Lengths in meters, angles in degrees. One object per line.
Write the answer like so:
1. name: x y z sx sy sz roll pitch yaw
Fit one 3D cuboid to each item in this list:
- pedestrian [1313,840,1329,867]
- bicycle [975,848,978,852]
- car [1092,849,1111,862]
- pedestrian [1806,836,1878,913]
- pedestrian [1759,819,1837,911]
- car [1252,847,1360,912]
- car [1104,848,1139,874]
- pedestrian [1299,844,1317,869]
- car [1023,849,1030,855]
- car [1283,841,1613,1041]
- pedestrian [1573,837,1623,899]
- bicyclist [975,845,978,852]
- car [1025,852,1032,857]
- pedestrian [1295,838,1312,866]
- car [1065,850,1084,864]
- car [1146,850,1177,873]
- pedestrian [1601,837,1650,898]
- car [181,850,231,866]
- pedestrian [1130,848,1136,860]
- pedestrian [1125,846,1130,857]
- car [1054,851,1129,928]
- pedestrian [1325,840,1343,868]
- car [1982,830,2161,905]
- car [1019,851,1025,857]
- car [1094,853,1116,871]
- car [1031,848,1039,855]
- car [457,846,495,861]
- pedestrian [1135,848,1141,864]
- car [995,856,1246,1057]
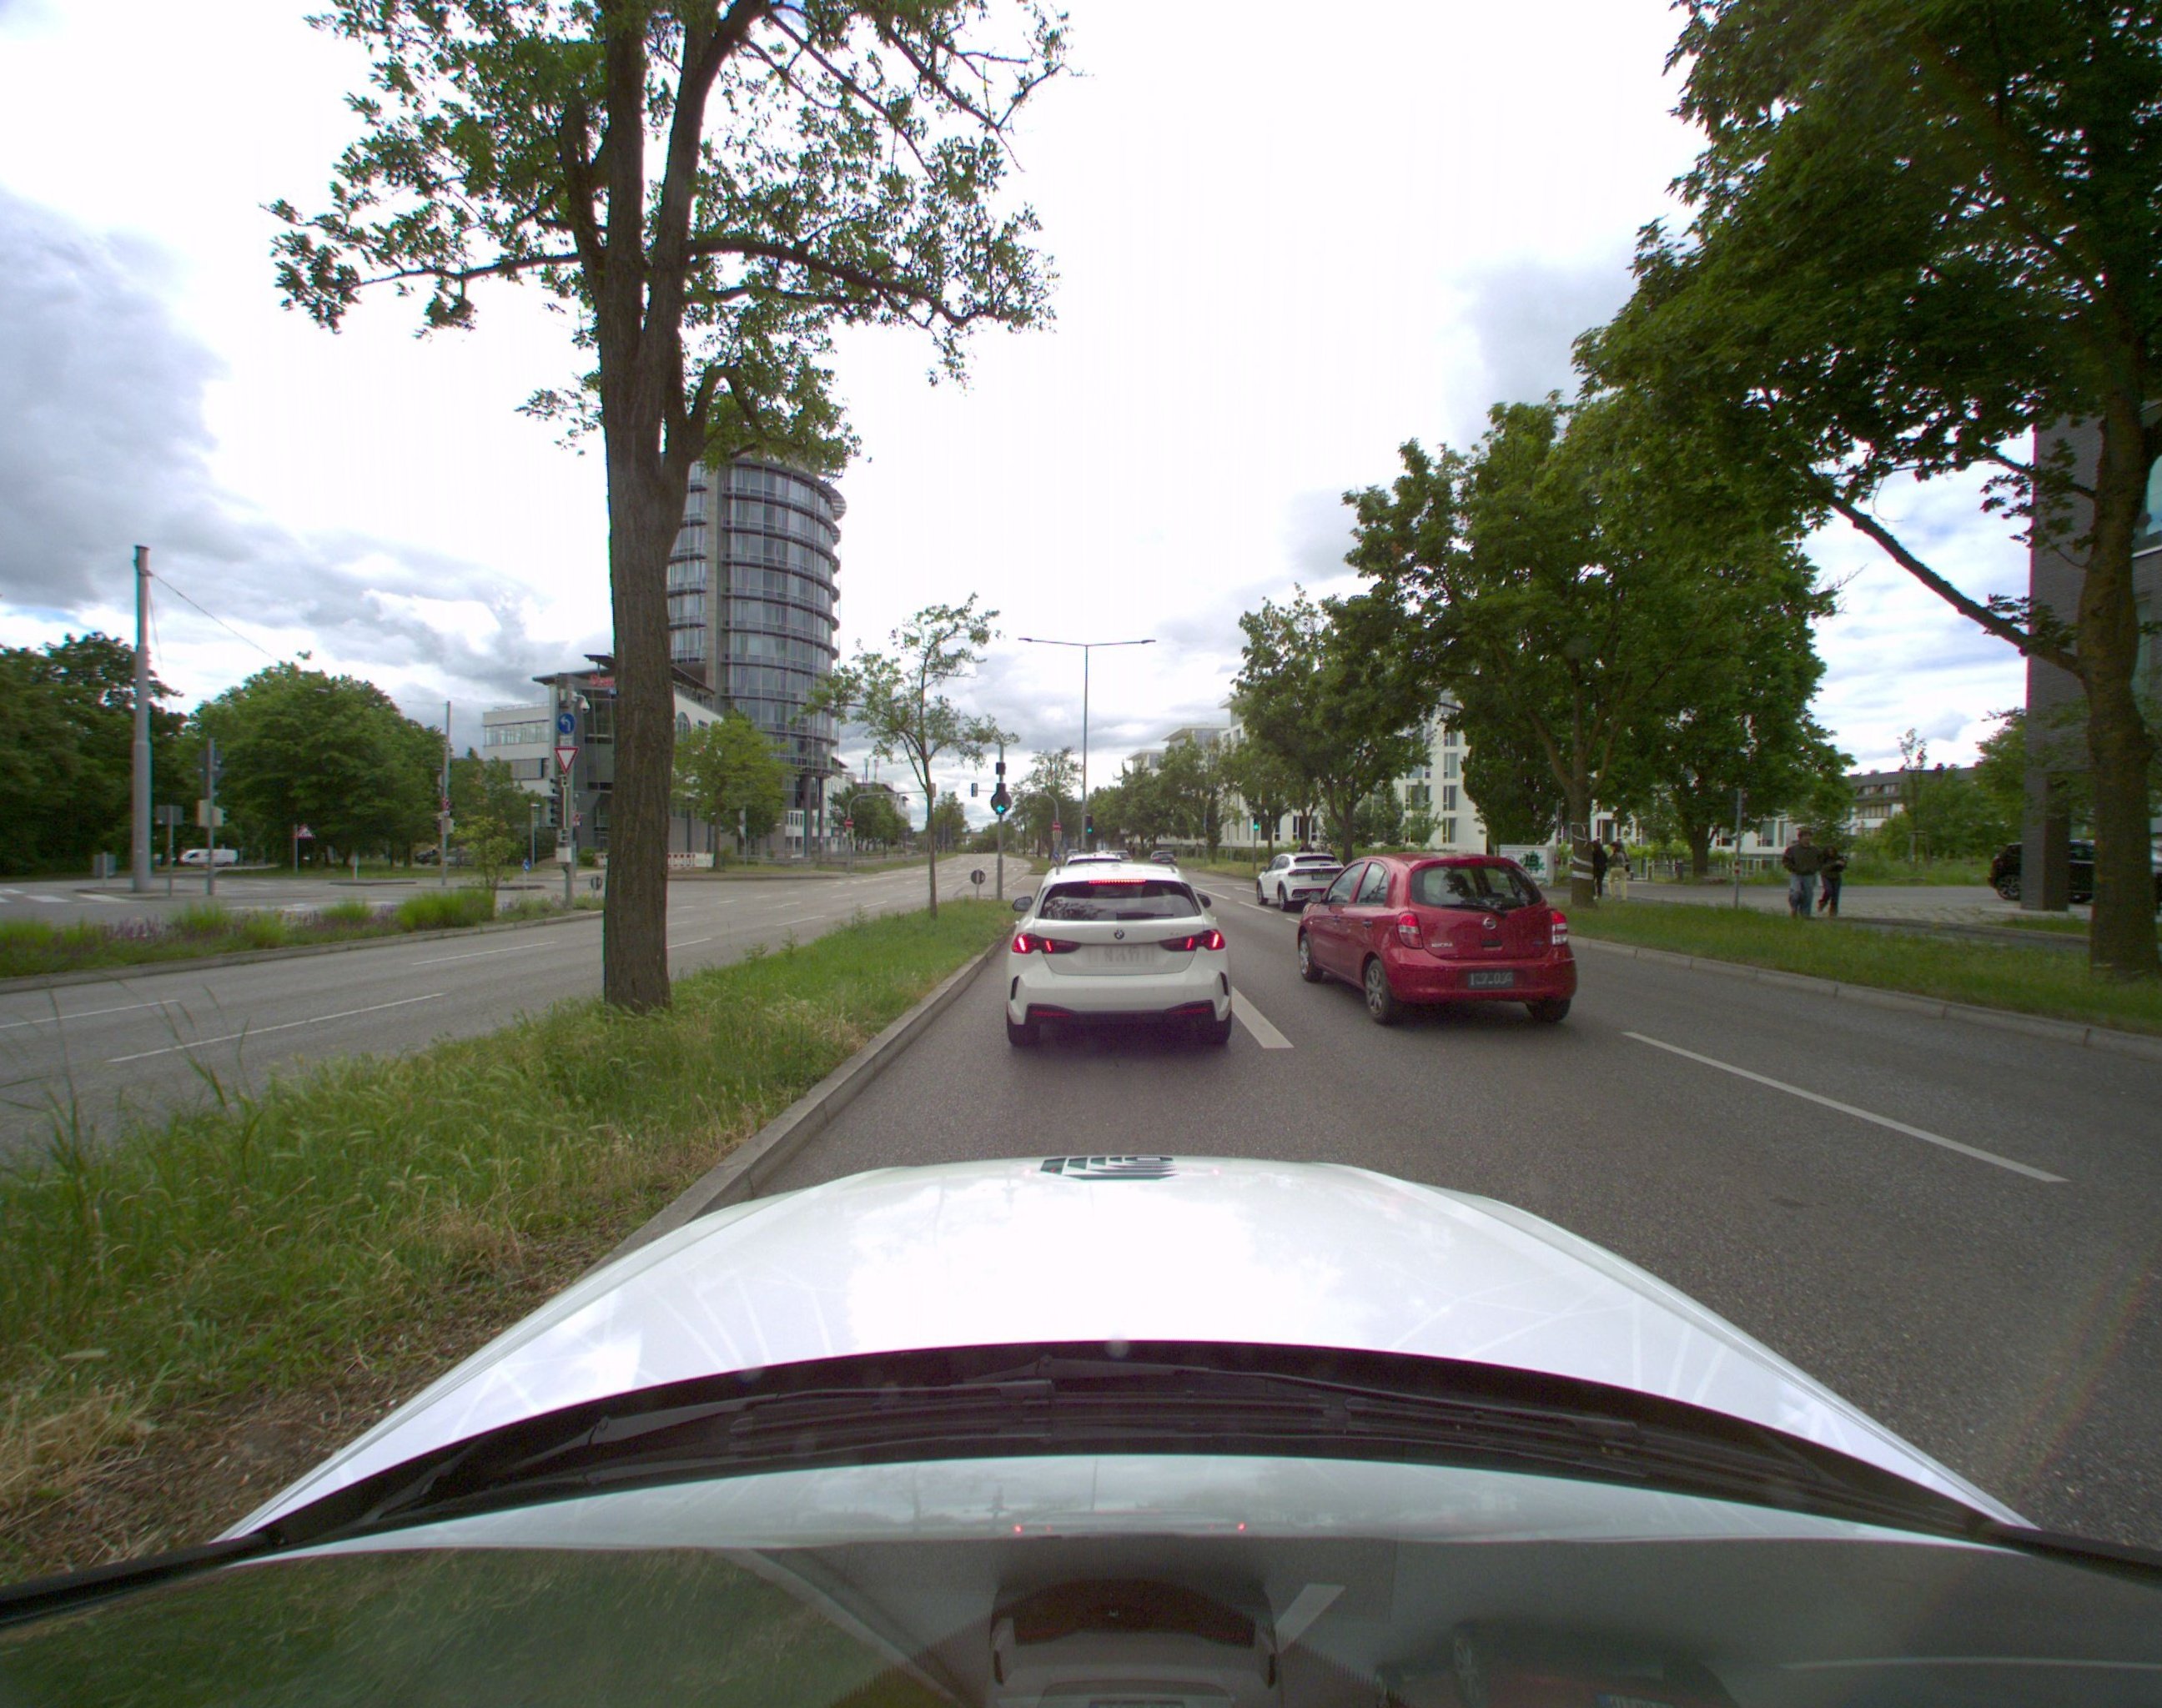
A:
1. pedestrian: 14.347 -0.004 48.660 0.697 1.595 0.883 0 -1 1
2. bicycle: -26.471 -0.998 206.181 0.810 1.104 2.548 0 -1 -9
3. car: 2.367 0.185 94.259 1.651 1.425 3.527 -1 0 -6
4. pedestrian: 15.985 0.419 17.141 0.825 1.557 0.880 0 0 20
5. pedestrian: 14.978 0.221 17.042 0.951 1.868 0.984 0 0 21
6. car: 5.936 0.628 21.945 1.711 1.555 4.087 -1 0 -1
7. car: 2.602 0.437 53.228 1.850 1.596 4.310 -1 0 -2
8. pedestrian: 13.548 0.157 48.651 0.786 1.448 1.112 0 -1 1
9. car: -17.365 -0.626 258.144 1.992 1.732 3.990 0 -1 -7
10. car: 3.397 0.694 8.405 1.710 1.558 3.859 -1 0 1
11. pedestrian: 14.184 0.366 22.379 0.791 1.660 1.061 0 0 7
12. bicyclist: -26.487 -1.360 206.245 0.810 1.653 1.185 0 -1 -9
13. car: -15.123 0.217 235.501 1.691 1.486 3.685 0 0 -7
14. pedestrian: 12.811 -0.124 46.906 0.739 1.574 0.674 0 -1 0
15. car: -0.836 0.387 96.881 1.889 1.596 4.304 0 0 -6
16. car: 5.493 0.515 56.194 1.653 1.512 3.997 0 -1 -2
17. pedestrian: 14.956 0.359 22.386 0.774 1.660 0.954 0 0 7
18. car: -129.042 0.644 120.115 1.978 2.339 4.570 -1 -1 16
19. pedestrian: 8.922 -0.010 138.795 0.849 2.013 0.603 0 0 -14
20. pedestrian: 8.047 -0.449 140.785 0.763 2.014 0.750 0 -1 -13
21. car: 0.281 0.718 18.629 1.544 1.569 4.002 0 0 2
22. pedestrian: 15.103 -0.009 48.669 0.764 1.685 0.883 0 -1 1
23. car: 24.889 0.298 19.667 1.749 1.646 4.151 0 0 2
24. car: -17.161 0.070 236.579 1.693 1.717 3.991 0 -1 -6
25. car: 2.005 0.690 68.479 1.601 1.468 3.672 0 0 -2
26. car: -11.882 -0.617 211.336 1.991 1.670 3.992 -2 0 -5
27. car: -37.376 -0.022 50.305 0.766 0.876 1.730 0 0 38
28. pedestrian: 9.231 0.334 131.595 0.828 2.627 0.646 0 0 1
29. car: 0.348 0.740 7.885 1.815 1.438 4.002 0 0 2
